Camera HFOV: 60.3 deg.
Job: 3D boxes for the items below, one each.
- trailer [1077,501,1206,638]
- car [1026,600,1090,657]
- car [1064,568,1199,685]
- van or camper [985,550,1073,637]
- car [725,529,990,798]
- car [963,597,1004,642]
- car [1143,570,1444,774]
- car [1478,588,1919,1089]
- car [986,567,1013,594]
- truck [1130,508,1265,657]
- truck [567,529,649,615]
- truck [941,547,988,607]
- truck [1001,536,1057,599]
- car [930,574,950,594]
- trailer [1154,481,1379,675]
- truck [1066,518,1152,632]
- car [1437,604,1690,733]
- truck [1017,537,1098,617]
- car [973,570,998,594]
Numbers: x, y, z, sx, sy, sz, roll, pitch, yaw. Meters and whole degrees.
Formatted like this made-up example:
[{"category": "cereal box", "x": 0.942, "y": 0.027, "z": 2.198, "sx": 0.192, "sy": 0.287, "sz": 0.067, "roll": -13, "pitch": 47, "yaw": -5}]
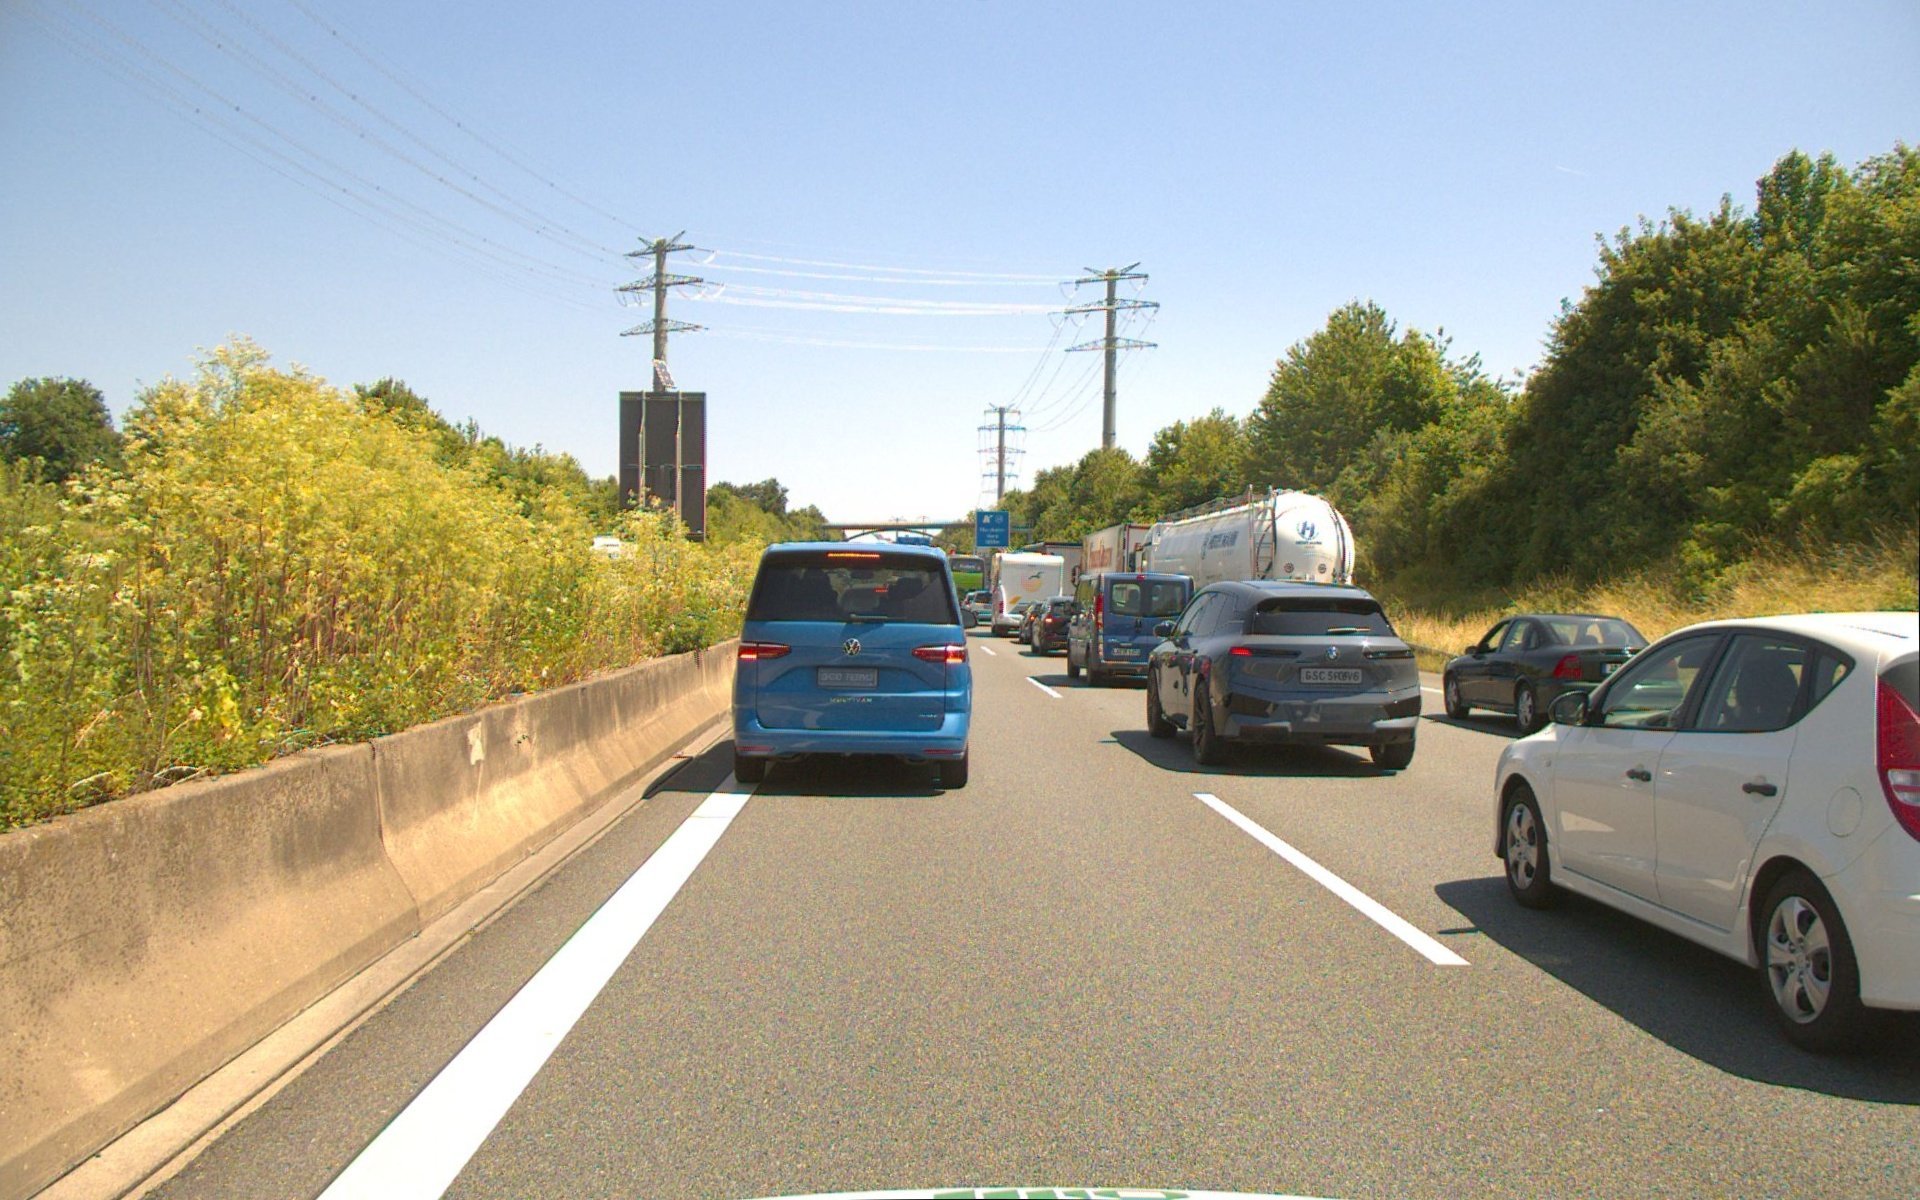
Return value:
[{"category": "trailer", "x": 6.485, "y": -1.009, "z": 61.113, "sx": 2.854, "sy": 4.547, "sz": 12.147, "roll": 0, "pitch": 0, "yaw": -3}, {"category": "car", "x": 2.557, "y": 0.743, "z": 43.818, "sx": 1.333, "sy": 1.445, "sz": 3.883, "roll": -1, "pitch": -1, "yaw": -2}, {"category": "car", "x": 3.037, "y": 0.471, "z": 30.170, "sx": 1.885, "sy": 1.959, "sz": 4.234, "roll": -1, "pitch": -1, "yaw": -2}, {"category": "van or camper", "x": 2.512, "y": -0.224, "z": 62.535, "sx": 2.897, "sy": 3.075, "sz": 7.101, "roll": 1, "pitch": 0, "yaw": -1}, {"category": "car", "x": -0.826, "y": 0.460, "z": 14.144, "sx": 1.881, "sy": 1.919, "sz": 3.998, "roll": 2, "pitch": 0, "yaw": -2}, {"category": "car", "x": 1.102, "y": 0.909, "z": 77.726, "sx": 1.799, "sy": 2.033, "sz": 3.999, "roll": 0, "pitch": -1, "yaw": -1}, {"category": "car", "x": 3.117, "y": 0.644, "z": 16.481, "sx": 1.959, "sy": 1.745, "sz": 4.623, "roll": 0, "pitch": -1, "yaw": -2}, {"category": "car", "x": 3.733, "y": 0.743, "z": 6.924, "sx": 1.780, "sy": 1.511, "sz": 3.998, "roll": 0, "pitch": -1, "yaw": -2}, {"category": "car", "x": 3.151, "y": -1.577, "z": 133.828, "sx": 1.953, "sy": 2.049, "sz": 3.998, "roll": 1, "pitch": 0, "yaw": -2}, {"category": "truck", "x": 6.558, "y": -0.456, "z": 46.384, "sx": 2.737, "sy": 3.903, "sz": 5.569, "roll": 0, "pitch": 0, "yaw": -3}, {"category": "truck", "x": -18.372, "y": -1.374, "z": 86.768, "sx": 2.951, "sy": 4.302, "sz": 6.683, "roll": 1, "pitch": 0, "yaw": -2}, {"category": "truck", "x": 0.252, "y": -1.469, "z": 111.326, "sx": 2.837, "sy": 3.832, "sz": 10.136, "roll": 1, "pitch": 0, "yaw": -2}, {"category": "truck", "x": 4.471, "y": -2.025, "z": 109.998, "sx": 2.837, "sy": 3.832, "sz": 13.340, "roll": 1, "pitch": 0, "yaw": -2}, {"category": "car", "x": -2.211, "y": -1.715, "z": 180.207, "sx": 1.954, "sy": 2.163, "sz": 3.998, "roll": 1, "pitch": 0, "yaw": -3}, {"category": "trailer", "x": 6.899, "y": -0.448, "z": 39.326, "sx": 2.706, "sy": 3.912, "sz": 11.479, "roll": 0, "pitch": 0, "yaw": -3}, {"category": "truck", "x": 6.112, "y": -0.997, "z": 68.392, "sx": 2.854, "sy": 4.547, "sz": 5.139, "roll": 0, "pitch": 0, "yaw": -3}, {"category": "car", "x": 7.414, "y": 0.796, "z": 20.742, "sx": 1.608, "sy": 1.441, "sz": 3.987, "roll": -1, "pitch": -1, "yaw": -2}, {"category": "truck", "x": 4.995, "y": -1.091, "z": 87.841, "sx": 2.945, "sy": 3.832, "sz": 15.707, "roll": 1, "pitch": 0, "yaw": -2}, {"category": "car", "x": 2.202, "y": -1.544, "z": 143.470, "sx": 1.953, "sy": 2.049, "sz": 3.998, "roll": 1, "pitch": 0, "yaw": -2}]
